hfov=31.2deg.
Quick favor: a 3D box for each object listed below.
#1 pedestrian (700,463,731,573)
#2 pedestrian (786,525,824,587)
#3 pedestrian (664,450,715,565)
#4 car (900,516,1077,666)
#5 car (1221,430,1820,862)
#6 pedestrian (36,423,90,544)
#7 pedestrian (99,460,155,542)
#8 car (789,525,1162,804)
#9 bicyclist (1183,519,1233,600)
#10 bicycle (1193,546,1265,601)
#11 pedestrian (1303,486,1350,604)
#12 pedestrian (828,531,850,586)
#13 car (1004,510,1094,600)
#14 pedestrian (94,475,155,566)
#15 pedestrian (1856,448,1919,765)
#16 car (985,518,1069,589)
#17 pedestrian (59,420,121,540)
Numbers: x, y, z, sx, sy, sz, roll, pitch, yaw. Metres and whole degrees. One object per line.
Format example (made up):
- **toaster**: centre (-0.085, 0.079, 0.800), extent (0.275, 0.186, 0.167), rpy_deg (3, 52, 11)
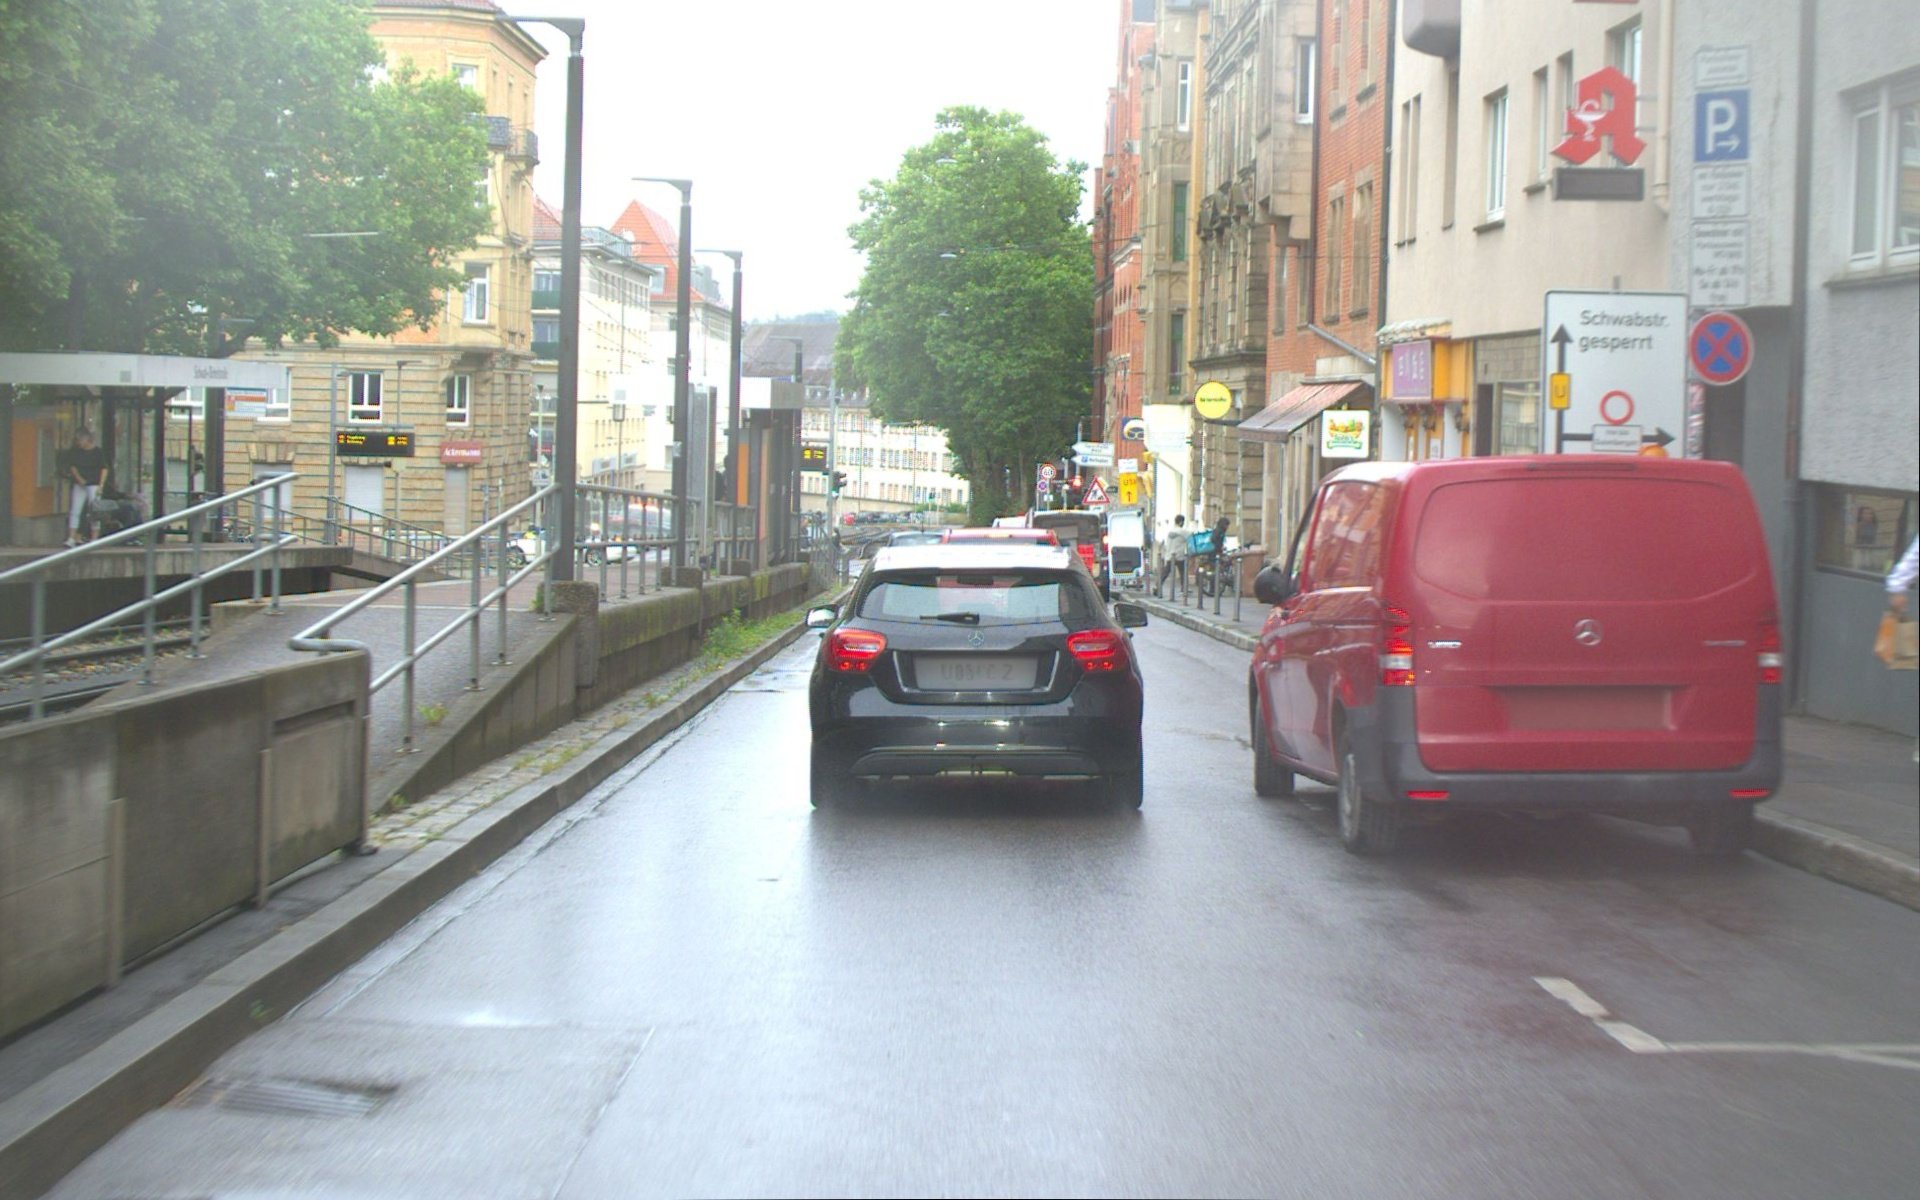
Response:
- **pedestrian**: centre (-3.582, -1.197, 50.388), extent (0.409, 1.599, 0.450), rpy_deg (1, 0, -6)
- **pedestrian**: centre (-4.374, -1.248, 96.951), extent (0.739, 1.718, 0.740), rpy_deg (1, 1, -43)
- **pedestrian**: centre (-3.794, -1.295, 48.279), extent (0.496, 1.599, 0.636), rpy_deg (1, 0, 16)
- **car**: centre (0.254, -0.118, 36.286), extent (1.679, 1.484, 3.613), rpy_deg (1, 1, -2)
- **car**: centre (2.616, 0.180, 17.429), extent (1.975, 1.832, 5.246), rpy_deg (1, 0, -2)
- **pedestrian**: centre (-12.974, -1.682, 49.731), extent (0.562, 1.709, 0.706), rpy_deg (2, 1, -2)
- **pedestrian**: centre (-12.924, -1.534, 53.326), extent (0.703, 1.236, 0.564), rpy_deg (2, 1, -2)
- **car**: centre (0.090, 0.287, 19.547), extent (1.895, 1.385, 4.000), rpy_deg (0, 2, 0)
- **bicyclist**: centre (5.109, -0.825, 70.848), extent (0.848, 1.651, 0.631), rpy_deg (0, 0, -43)
- **bicycle**: centre (5.527, -0.536, 70.568), extent (1.684, 1.111, 0.464), rpy_deg (0, 0, -43)
- **pedestrian**: centre (5.739, -0.856, 53.830), extent (0.577, 1.824, 0.564), rpy_deg (-2, 0, -3)
- **pedestrian**: centre (-3.416, -1.170, 96.910), extent (0.531, 1.525, 0.436), rpy_deg (1, 0, -8)
- **car**: centre (1.972, -1.006, 77.253), extent (1.921, 1.929, 4.685), rpy_deg (1, 0, 1)
- **pedestrian**: centre (-12.779, -1.212, 52.589), extent (0.777, 1.358, 0.564), rpy_deg (2, 1, -2)
- **pedestrian**: centre (5.646, 0.042, 19.469), extent (0.851, 1.751, 0.837), rpy_deg (2, 1, 0)
- **car**: centre (1.787, -1.255, 92.630), extent (1.933, 1.825, 4.281), rpy_deg (1, 1, -3)
- **pedestrian**: centre (-12.185, -1.677, 48.151), extent (0.686, 1.635, 0.564), rpy_deg (2, 1, -2)
